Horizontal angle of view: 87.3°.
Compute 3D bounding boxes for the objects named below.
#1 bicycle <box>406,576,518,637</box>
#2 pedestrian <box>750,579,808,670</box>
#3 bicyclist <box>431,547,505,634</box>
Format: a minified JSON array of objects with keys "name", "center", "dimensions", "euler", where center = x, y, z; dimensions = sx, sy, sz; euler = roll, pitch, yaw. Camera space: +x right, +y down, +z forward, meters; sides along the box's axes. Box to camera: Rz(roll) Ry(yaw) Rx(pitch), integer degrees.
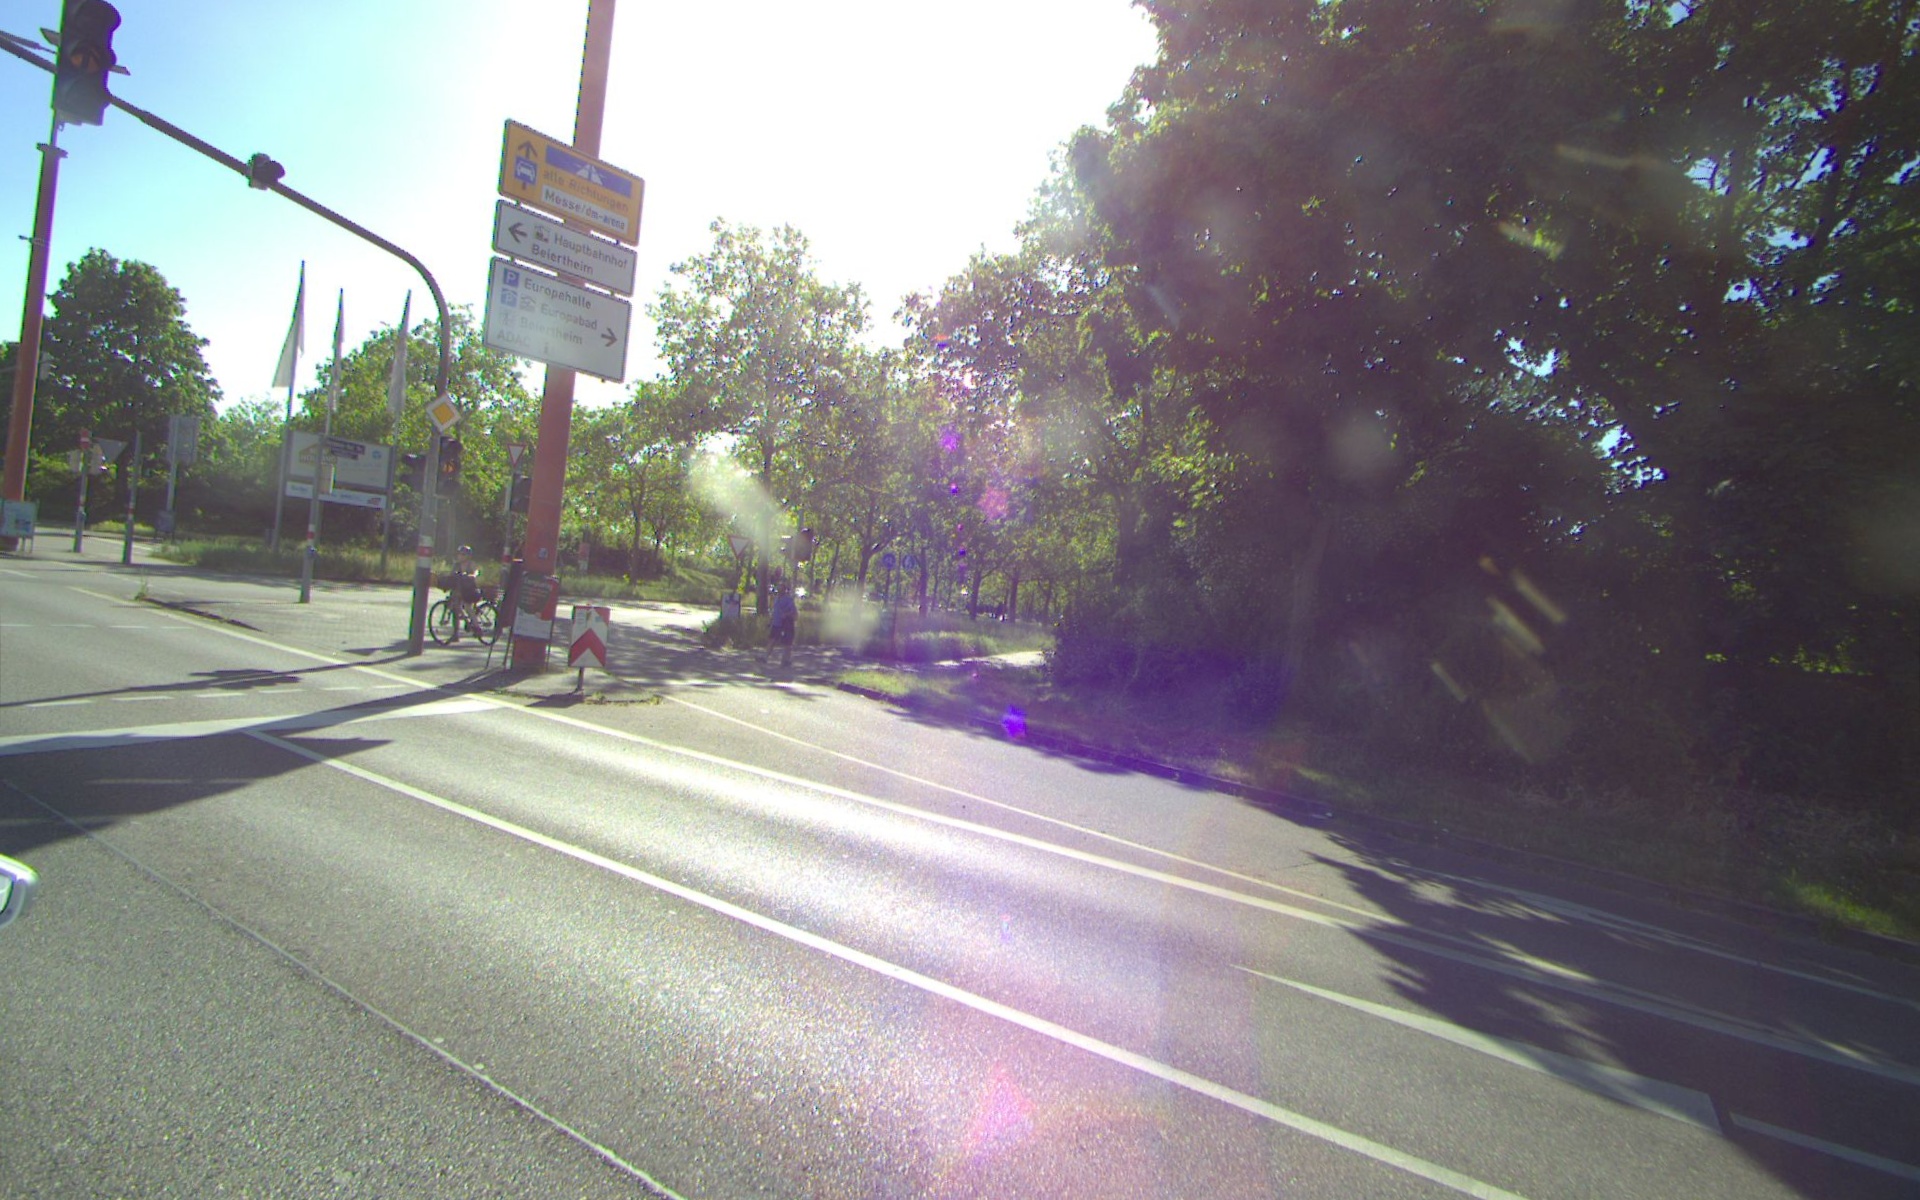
[{"name":"bicycle","center":[-8.234,0.121,16.746],"dimensions":[0.549,0.889,2.170],"euler":[7,-1,5]},{"name":"pedestrian","center":[-3.875,0.525,21.616],"dimensions":[0.884,1.809,0.894],"euler":[8,-1,-3]},{"name":"bicyclist","center":[-8.234,-0.150,16.859],"dimensions":[0.694,1.358,0.742],"euler":[7,0,5]}]
